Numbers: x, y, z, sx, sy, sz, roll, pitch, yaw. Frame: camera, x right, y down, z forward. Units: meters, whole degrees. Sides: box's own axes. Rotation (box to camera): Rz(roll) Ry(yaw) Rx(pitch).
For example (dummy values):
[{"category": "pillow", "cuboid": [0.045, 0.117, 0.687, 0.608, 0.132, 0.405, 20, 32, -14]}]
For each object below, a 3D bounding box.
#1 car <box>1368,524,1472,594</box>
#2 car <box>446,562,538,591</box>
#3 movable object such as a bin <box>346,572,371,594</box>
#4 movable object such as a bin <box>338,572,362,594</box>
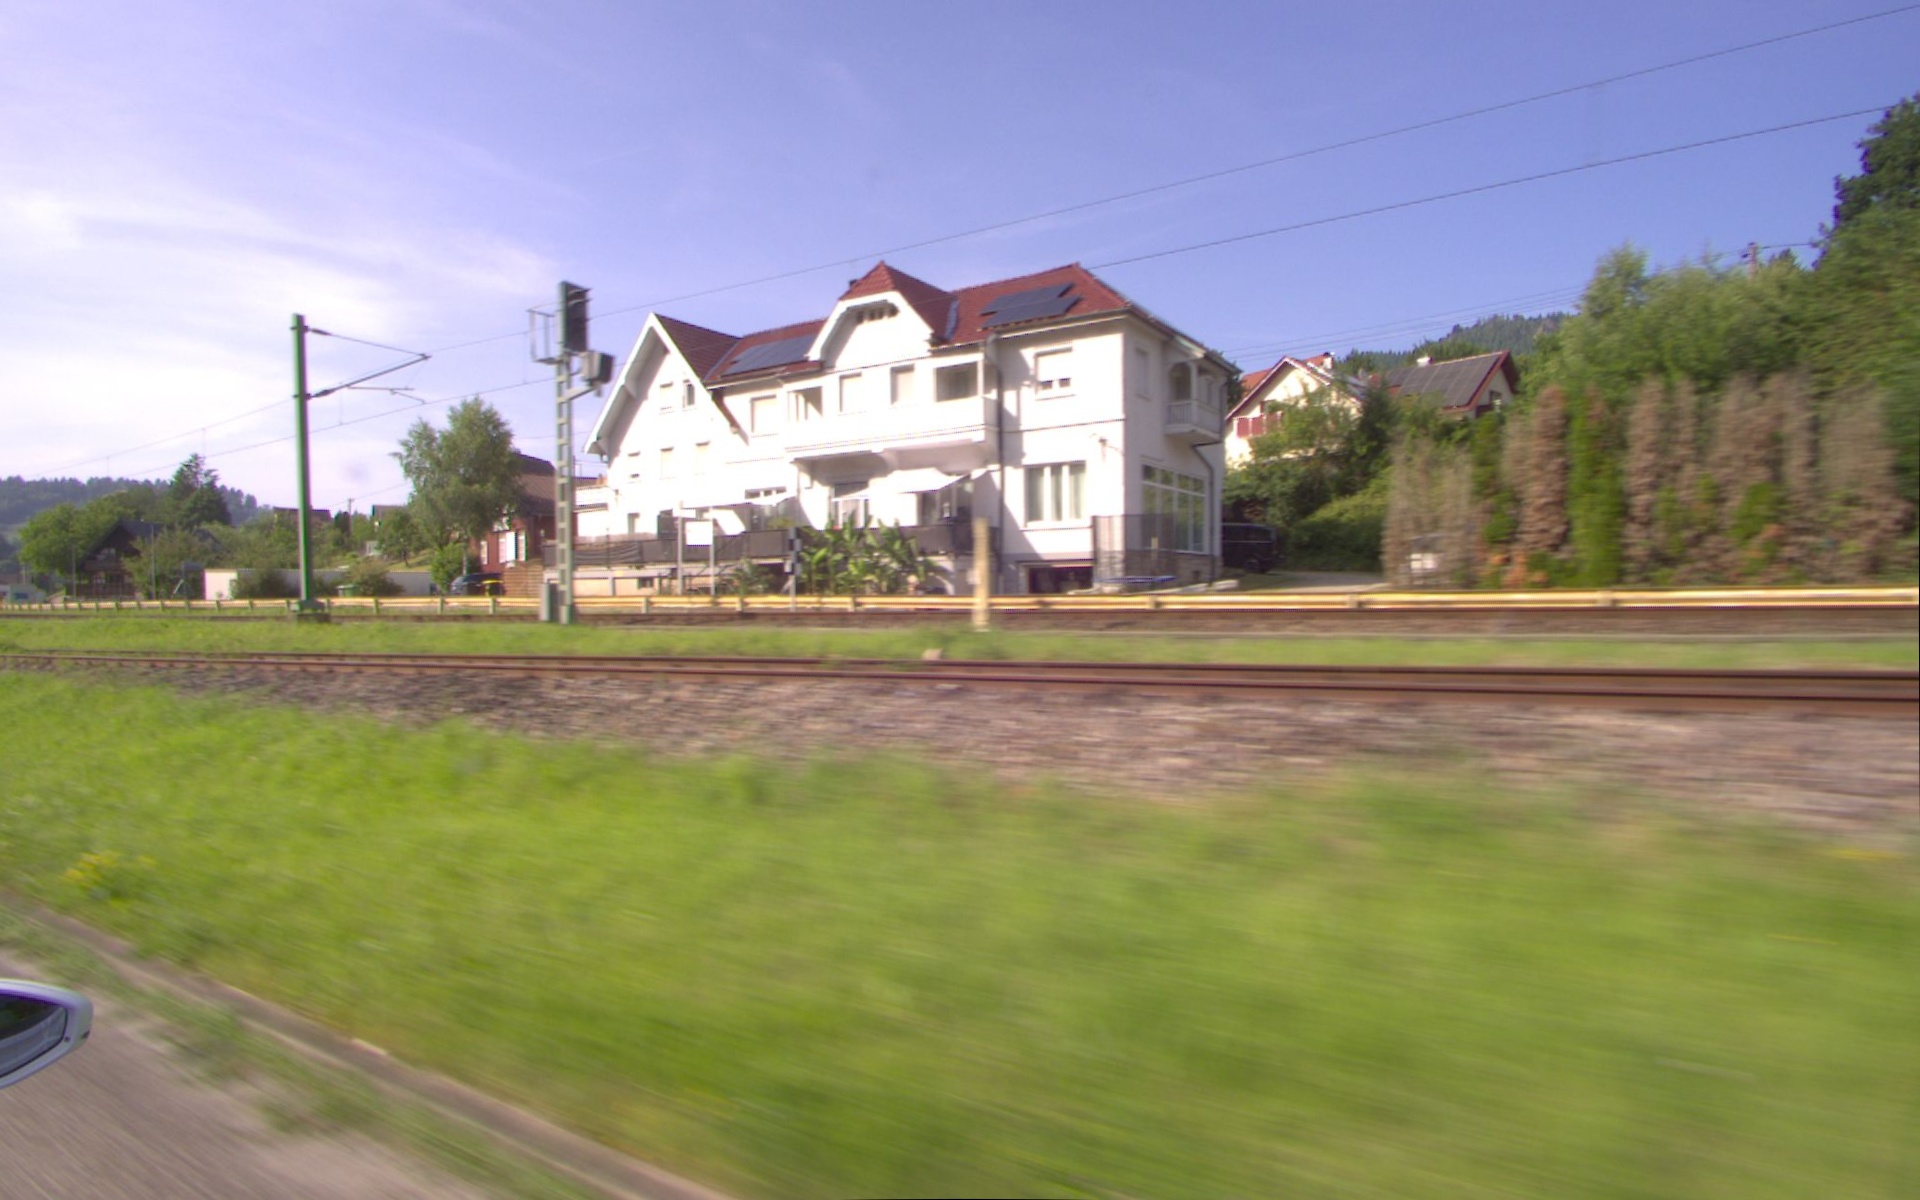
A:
[{"category": "car", "cuboid": [11.313, -0.982, 24.477, 1.970, 1.551, 3.980, 1, 3, 30]}, {"category": "car", "cuboid": [-24.576, -1.250, 52.696, 1.804, 1.395, 3.965, 1, 3, 41]}, {"category": "movable object such as a bin", "cuboid": [-30.507, -0.857, 50.788, 0.900, 1.064, 0.804, 1, 0, 39]}, {"category": "movable object such as a bin", "cuboid": [-31.305, -0.870, 51.390, 0.900, 1.064, 0.804, 1, 0, 39]}]
